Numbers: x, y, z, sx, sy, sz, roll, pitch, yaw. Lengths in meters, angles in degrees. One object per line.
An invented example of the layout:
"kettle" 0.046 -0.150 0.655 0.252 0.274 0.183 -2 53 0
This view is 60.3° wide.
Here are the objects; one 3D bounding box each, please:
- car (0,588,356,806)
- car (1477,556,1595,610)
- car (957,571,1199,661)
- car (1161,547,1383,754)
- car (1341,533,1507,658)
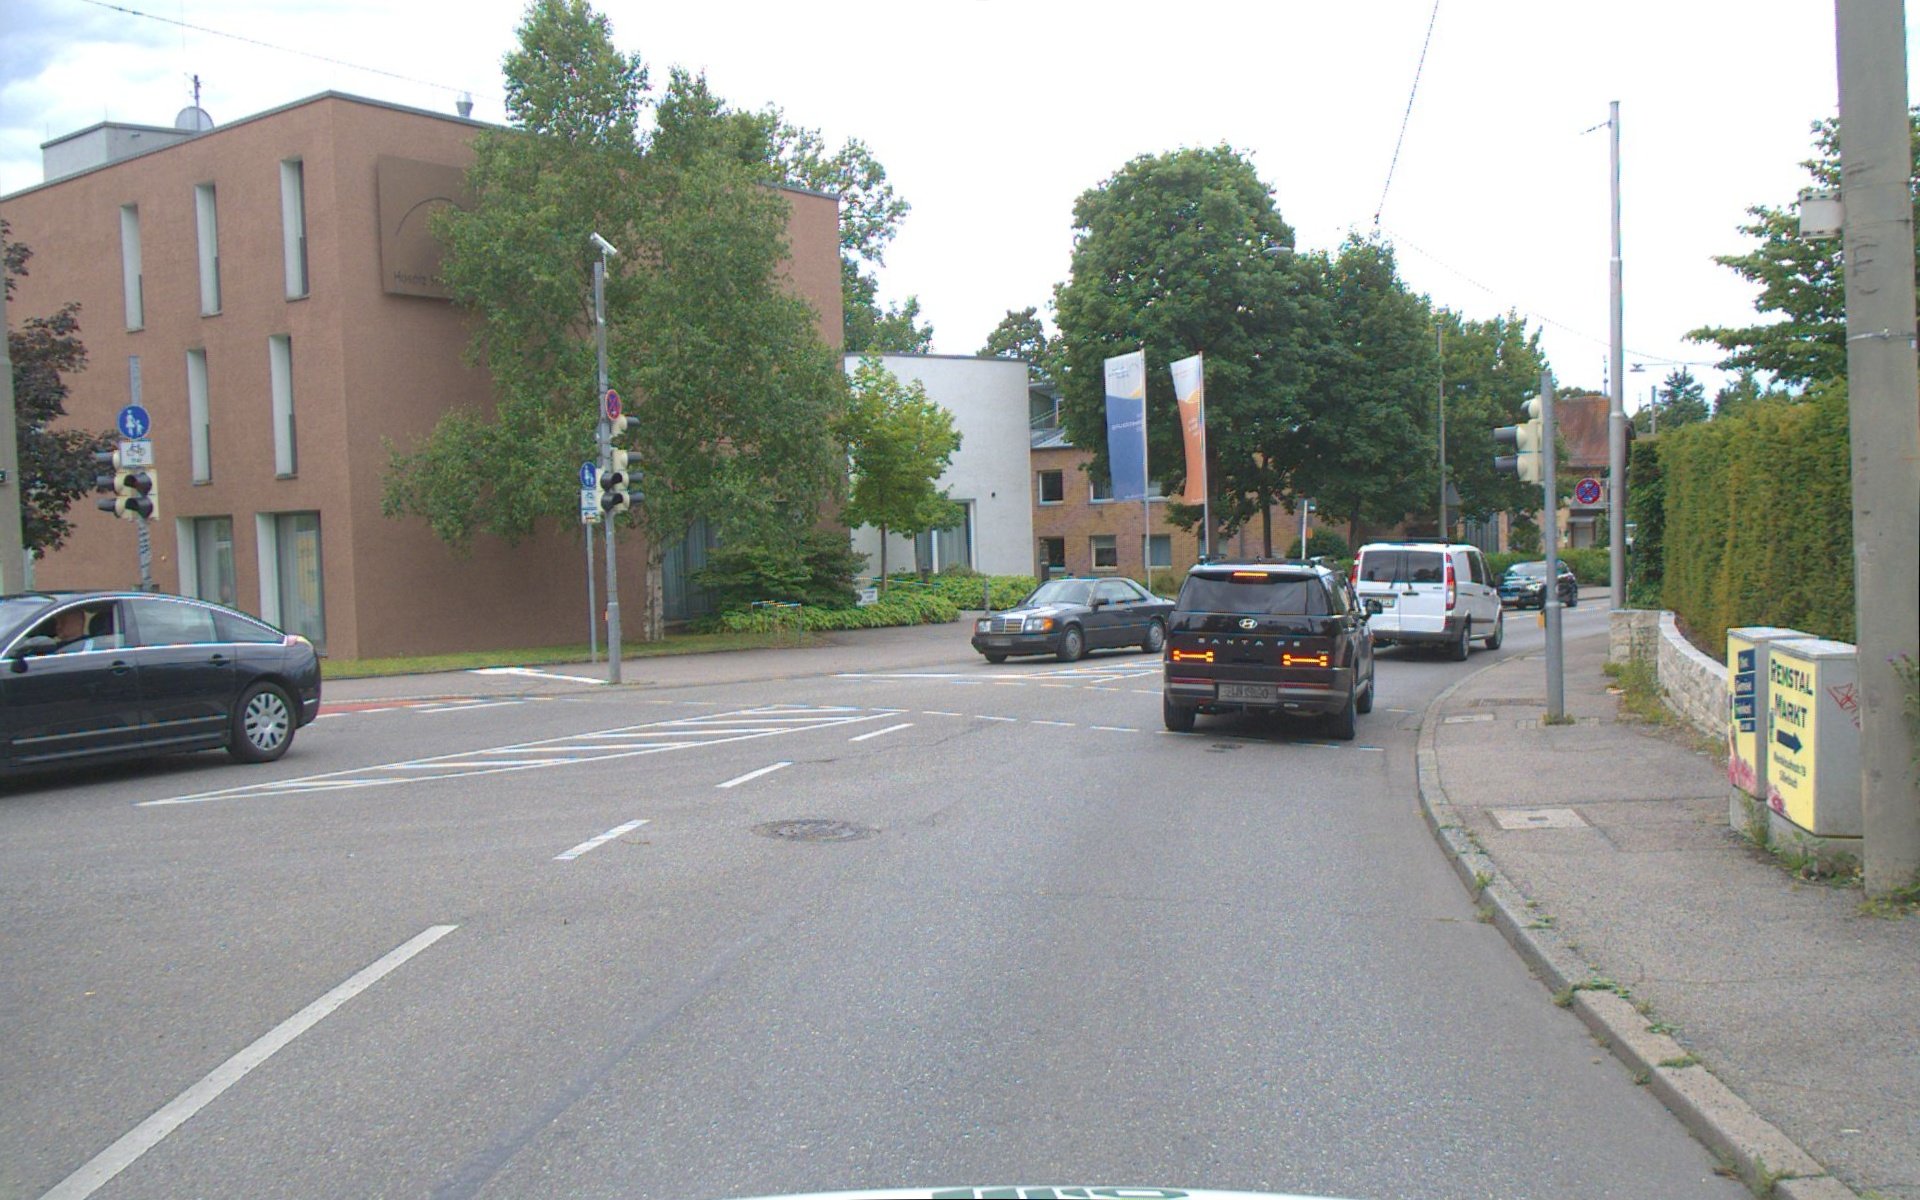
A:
"car" -7.236 0.698 12.661 1.953 1.447 5.056 -1 1 23
"car" 16.944 -0.513 48.589 1.738 1.432 3.973 -1 1 45
"car" 2.139 0.238 28.523 1.816 1.351 4.848 -2 1 37
"car" 3.375 0.388 17.292 1.916 1.742 4.228 2 3 15
"car" 8.133 -0.160 28.731 1.920 1.989 4.218 1 3 28
